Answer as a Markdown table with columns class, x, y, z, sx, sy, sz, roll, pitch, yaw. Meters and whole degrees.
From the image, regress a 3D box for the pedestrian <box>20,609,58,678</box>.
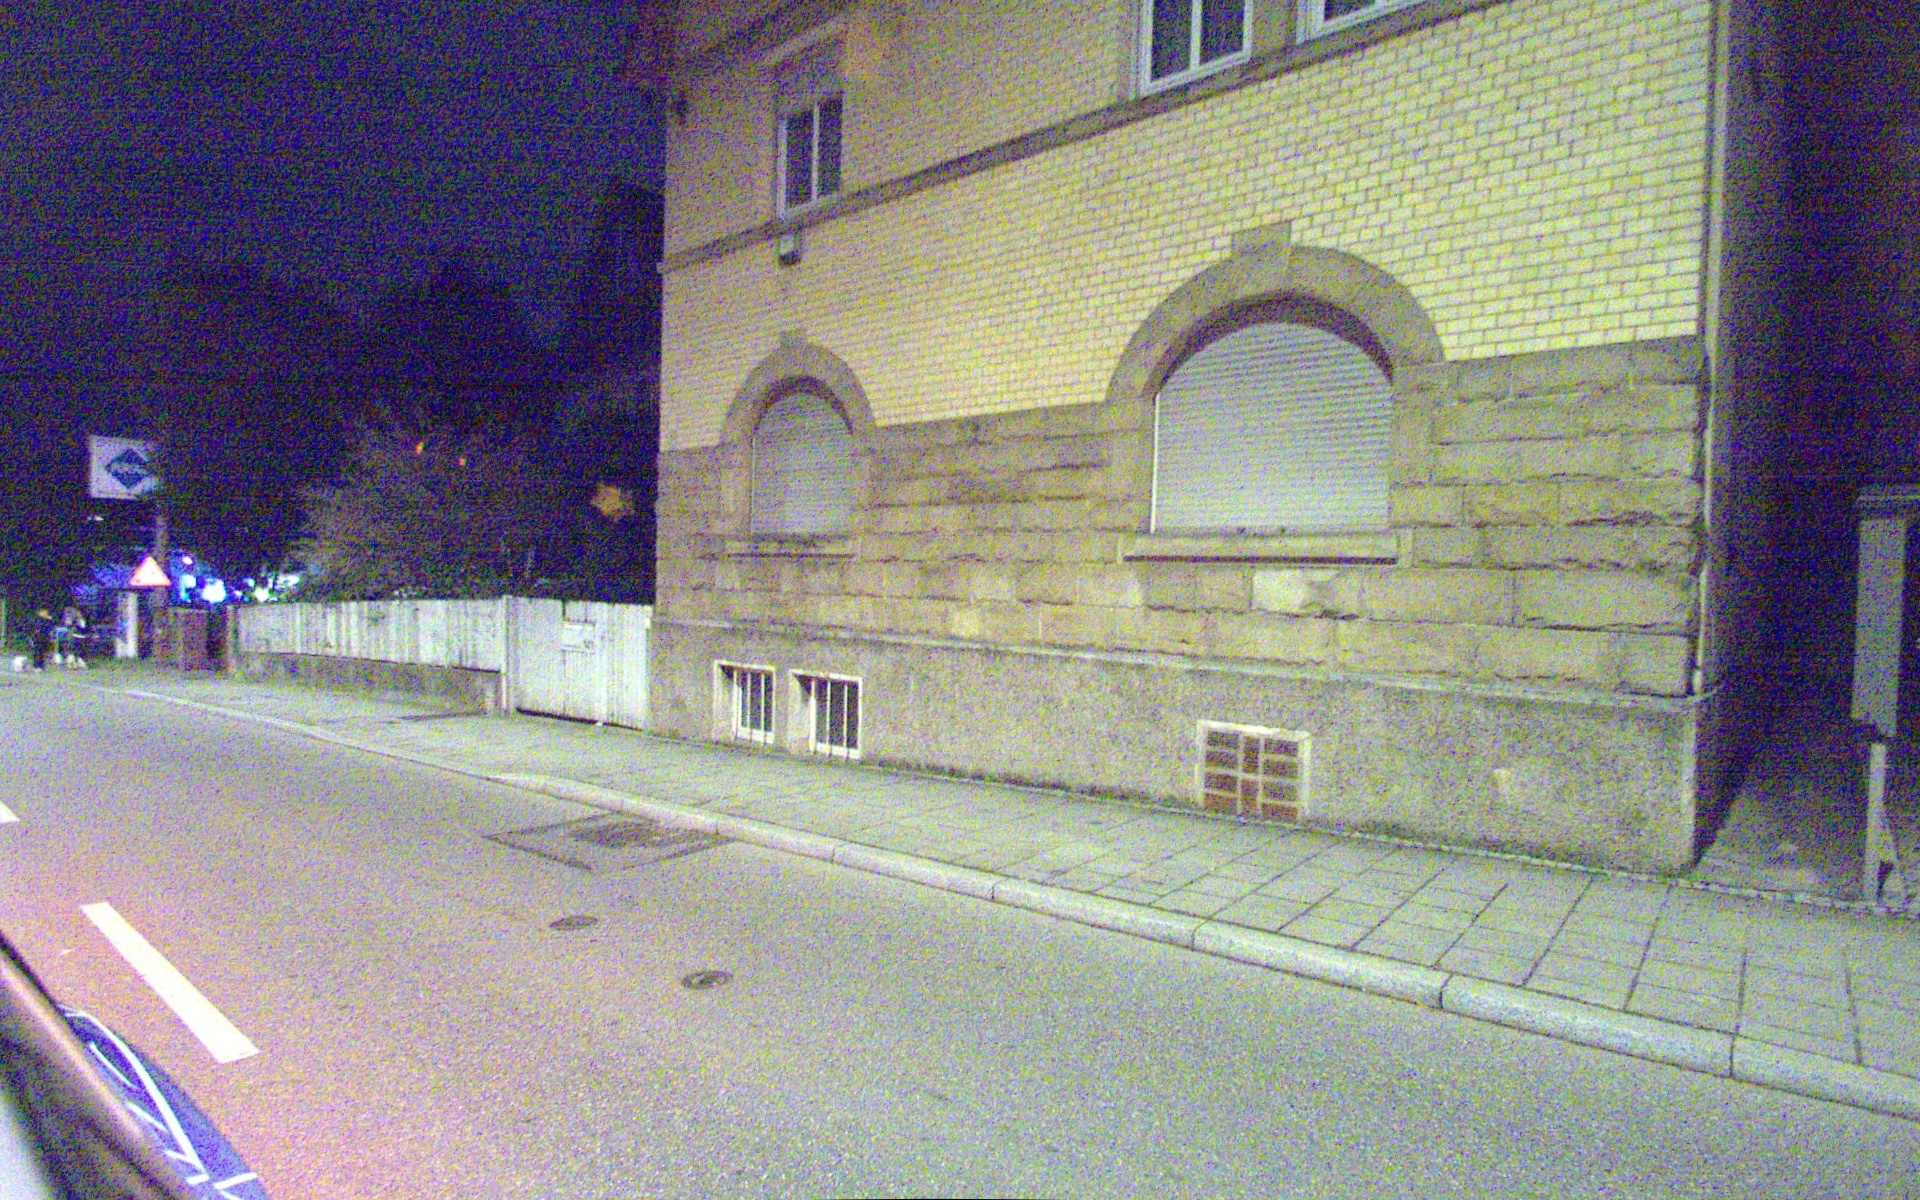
| class | x | y | z | sx | sy | sz | roll | pitch | yaw |
| --- | --- | --- | --- | --- | --- | --- | --- | --- | --- |
| pedestrian | -24.140 | 1.132 | 26.530 | 0.500 | 1.773 | 0.664 | -1 | 0 | 41 |

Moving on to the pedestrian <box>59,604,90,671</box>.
| class | x | y | z | sx | sy | sz | roll | pitch | yaw |
| --- | --- | --- | --- | --- | --- | --- | --- | --- | --- |
| pedestrian | -23.902 | 1.001 | 27.314 | 0.500 | 1.773 | 0.557 | -1 | 0 | 41 |

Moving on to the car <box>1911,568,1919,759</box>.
| class | x | y | z | sx | sy | sz | roll | pitch | yaw |
| --- | --- | --- | --- | --- | --- | --- | --- | --- | --- |
| car | 7.195 | 0.534 | 6.235 | 1.718 | 1.452 | 3.612 | -1 | 2 | 40 |
